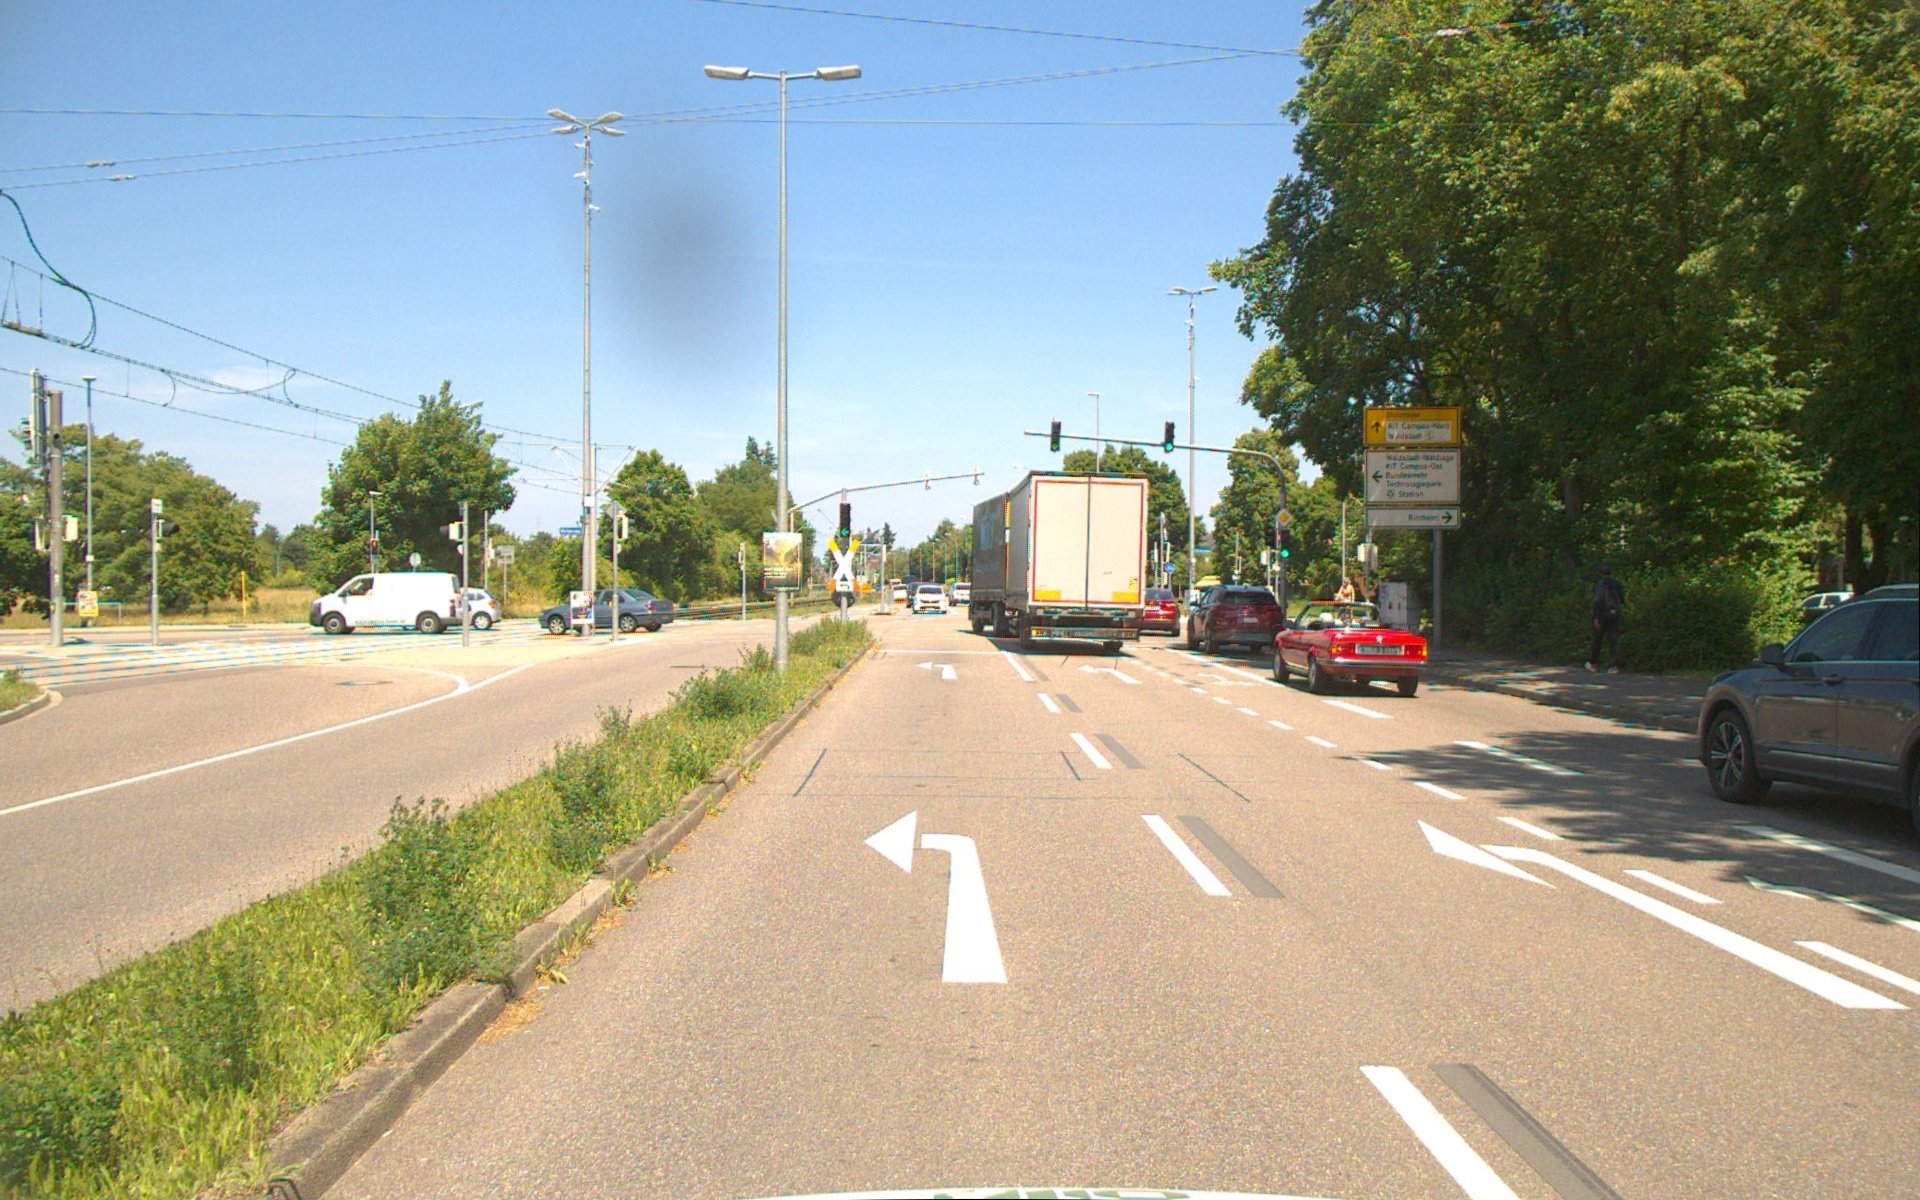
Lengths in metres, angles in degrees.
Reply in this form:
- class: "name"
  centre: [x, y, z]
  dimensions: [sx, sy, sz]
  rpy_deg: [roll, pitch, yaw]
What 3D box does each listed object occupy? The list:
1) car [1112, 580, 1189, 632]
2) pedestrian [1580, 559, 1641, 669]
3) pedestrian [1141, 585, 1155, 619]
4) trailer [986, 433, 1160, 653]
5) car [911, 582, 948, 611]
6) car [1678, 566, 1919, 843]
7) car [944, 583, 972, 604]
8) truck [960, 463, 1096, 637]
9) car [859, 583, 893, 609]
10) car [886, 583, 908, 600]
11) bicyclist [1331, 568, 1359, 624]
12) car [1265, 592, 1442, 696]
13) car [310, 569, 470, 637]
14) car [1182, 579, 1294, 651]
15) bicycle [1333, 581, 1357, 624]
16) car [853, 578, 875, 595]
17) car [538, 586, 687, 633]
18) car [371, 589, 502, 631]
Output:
- class: "car"
  centre: [5.969, 0.154, 52.288]
  dimensions: [1.952, 1.529, 4.503]
  rpy_deg: [0, 1, 1]
- class: "pedestrian"
  centre: [11.100, 0.228, 28.247]
  dimensions: [0.738, 1.847, 0.693]
  rpy_deg: [-1, 1, -2]
- class: "pedestrian"
  centre: [11.453, 0.146, 100.829]
  dimensions: [0.727, 2.049, 0.613]
  rpy_deg: [1, 0, 0]
- class: "trailer"
  centre: [2.418, -1.236, 38.676]
  dimensions: [2.771, 4.498, 8.742]
  rpy_deg: [1, 1, -4]
- class: "car"
  centre: [-1.583, -0.201, 85.231]
  dimensions: [1.821, 1.396, 4.155]
  rpy_deg: [1, 1, -2]
- class: "car"
  centre: [6.656, 0.640, 11.045]
  dimensions: [1.665, 1.683, 4.397]
  rpy_deg: [1, 1, -2]
- class: "car"
  centre: [-0.145, -0.470, 115.704]
  dimensions: [1.821, 1.396, 4.155]
  rpy_deg: [1, 1, -2]
- class: "truck"
  centre: [1.778, -1.396, 47.208]
  dimensions: [2.772, 4.419, 8.277]
  rpy_deg: [2, 1, -5]
- class: "car"
  centre: [-4.770, -0.226, 94.234]
  dimensions: [1.821, 1.396, 4.155]
  rpy_deg: [1, 1, -2]
- class: "car"
  centre: [-5.459, -0.784, 143.792]
  dimensions: [1.821, 1.396, 4.155]
  rpy_deg: [1, 1, -2]
- class: "bicyclist"
  centre: [12.469, -0.132, 53.542]
  dimensions: [0.785, 1.757, 0.679]
  rpy_deg: [-2, 0, 10]
- class: "car"
  centre: [6.077, 0.624, 26.030]
  dimensions: [1.621, 1.421, 4.266]
  rpy_deg: [1, 1, -2]
- class: "car"
  centre: [-18.670, 0.095, 54.339]
  dimensions: [4.642, 2.147, 1.997]
  rpy_deg: [0, 1, -7]
- class: "car"
  centre: [6.476, 0.313, 38.930]
  dimensions: [1.821, 1.576, 3.886]
  rpy_deg: [1, 1, -2]
- class: "bicycle"
  centre: [12.483, 0.077, 53.603]
  dimensions: [0.630, 1.327, 1.627]
  rpy_deg: [-2, 0, 10]
- class: "car"
  centre: [-8.385, -1.203, 144.548]
  dimensions: [1.821, 1.396, 4.155]
  rpy_deg: [1, 1, -2]
- class: "car"
  centre: [-11.173, 0.288, 53.277]
  dimensions: [4.322, 1.395, 1.900]
  rpy_deg: [1, 1, 17]
- class: "car"
  centre: [-18.563, 0.335, 58.649]
  dimensions: [4.353, 1.395, 1.887]
  rpy_deg: [0, 1, -22]
